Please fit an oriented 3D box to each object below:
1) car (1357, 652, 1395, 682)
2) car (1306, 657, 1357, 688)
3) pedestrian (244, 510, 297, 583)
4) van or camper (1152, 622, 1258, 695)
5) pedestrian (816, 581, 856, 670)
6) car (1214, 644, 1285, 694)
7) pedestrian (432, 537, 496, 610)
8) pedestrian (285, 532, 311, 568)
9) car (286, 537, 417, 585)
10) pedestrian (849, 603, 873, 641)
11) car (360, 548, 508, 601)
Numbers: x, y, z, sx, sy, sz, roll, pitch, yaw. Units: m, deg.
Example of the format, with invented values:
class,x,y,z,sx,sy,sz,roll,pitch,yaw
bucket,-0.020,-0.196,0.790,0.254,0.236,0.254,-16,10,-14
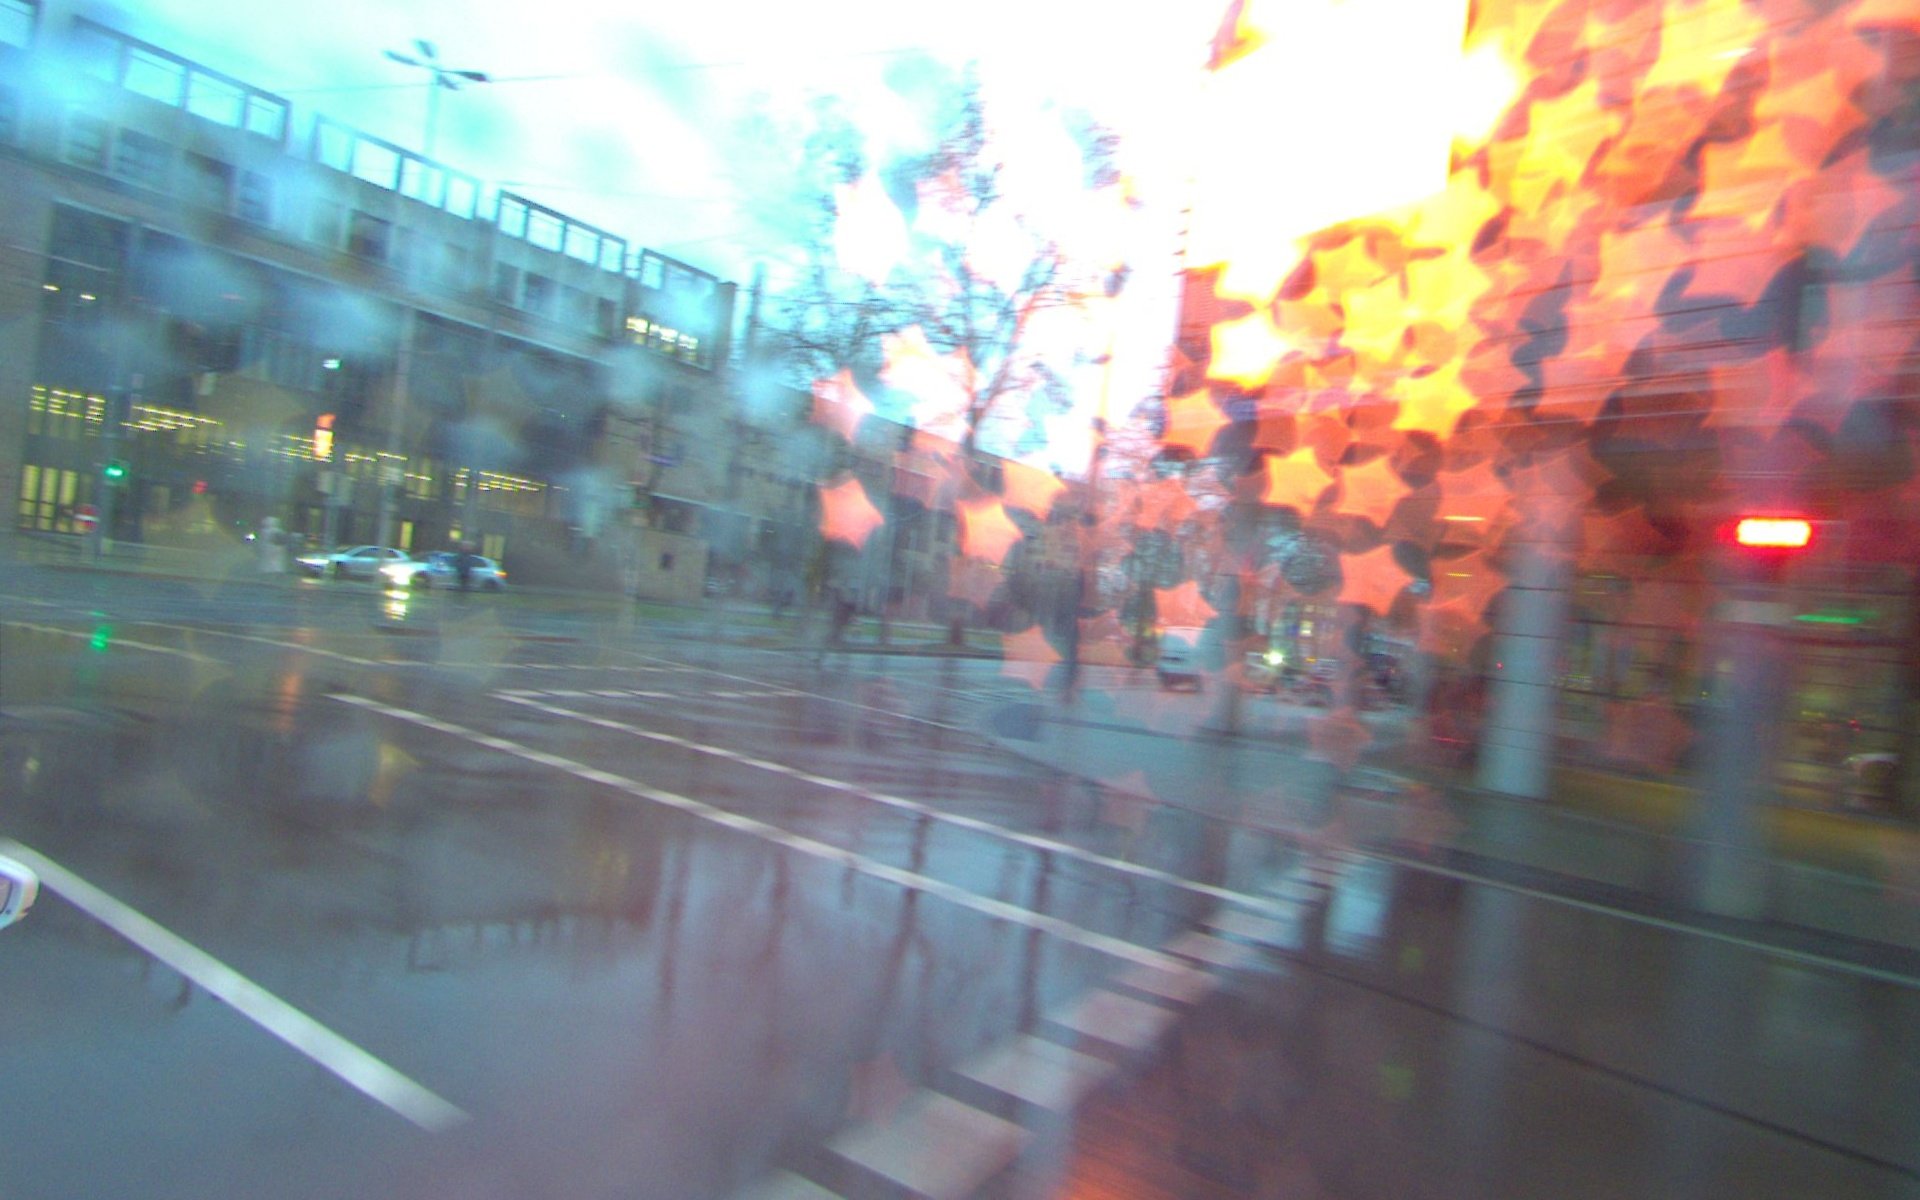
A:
class,x,y,z,sx,sy,sz,roll,pitch,yaw
car,31.365,5.061,75.752,1.812,1.975,3.991,6,0,32
car,20.891,4.065,56.549,1.812,1.451,3.991,6,0,32
pedestrian,-18.311,-1.421,26.729,0.722,1.809,0.735,7,1,24
van or camper,7.881,1.915,31.982,1.811,1.951,4.741,7,-1,31
pedestrian,-2.680,0.538,21.862,0.639,1.833,0.799,7,0,-6
car,10.743,2.592,37.191,1.615,1.546,3.840,7,-1,28
pedestrian,-13.370,-0.705,27.123,0.764,1.809,1.151,7,0,28
pedestrian,-28.480,-2.149,43.284,0.734,1.406,0.728,7,0,-41
car,-24.036,-1.503,39.881,1.783,1.325,3.989,7,-1,29
pedestrian,-3.818,0.838,38.803,0.471,1.381,0.605,7,1,36
car,-17.482,-0.822,33.633,1.784,1.358,3.985,7,1,30
